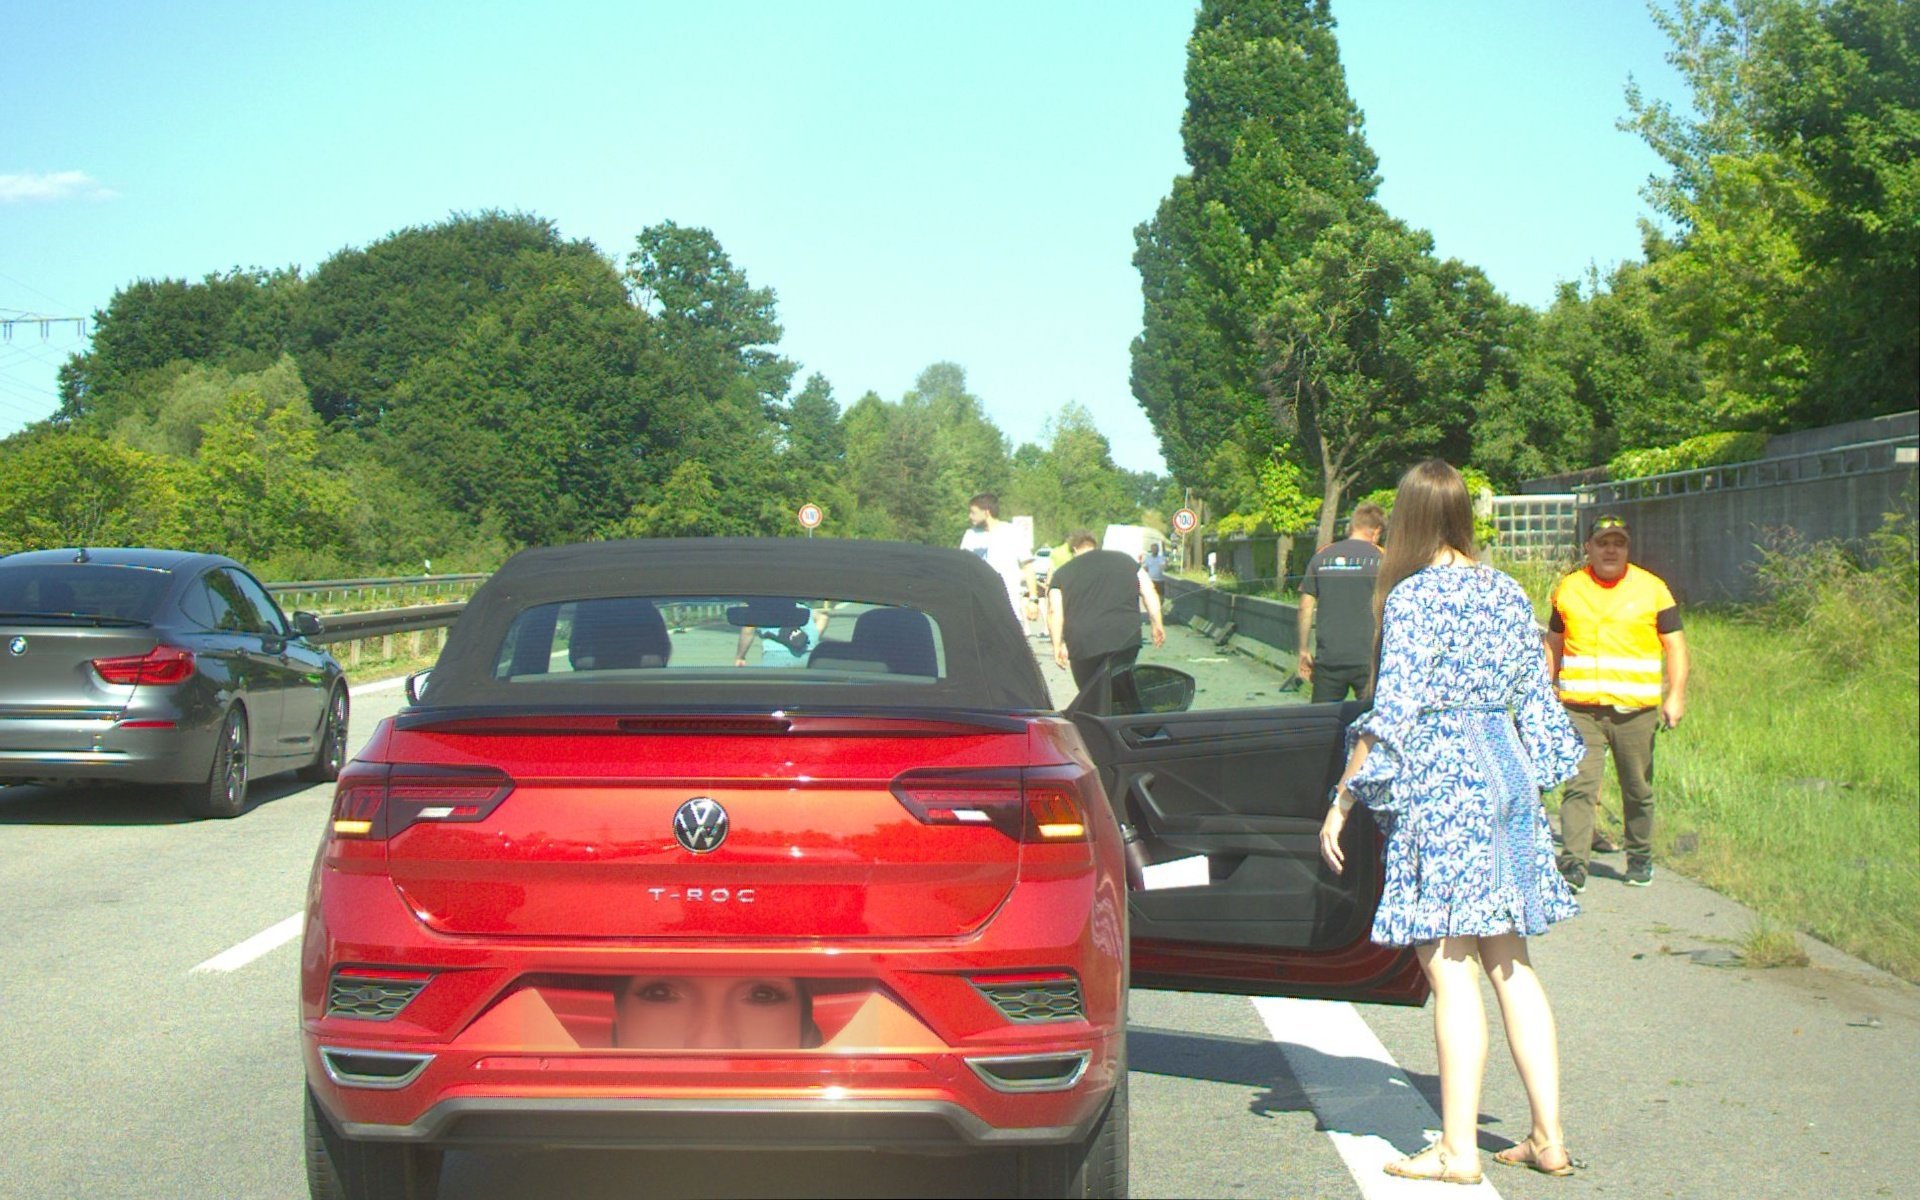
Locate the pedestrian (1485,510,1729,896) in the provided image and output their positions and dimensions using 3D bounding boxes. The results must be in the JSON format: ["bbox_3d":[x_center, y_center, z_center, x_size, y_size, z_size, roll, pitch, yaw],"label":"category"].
[{"bbox_3d":[2.871,0.433,15.386,0.958,1.648,1.278,-1,1,6],"label":"pedestrian"}]

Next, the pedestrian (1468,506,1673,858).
[{"bbox_3d":[3.058,0.399,17.284,0.894,1.719,0.754,1,0,2],"label":"pedestrian"}]

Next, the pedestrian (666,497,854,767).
[{"bbox_3d":[-1.353,0.208,23.487,1.104,1.782,1.091,1,0,5],"label":"pedestrian"}]

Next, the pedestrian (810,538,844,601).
[{"bbox_3d":[-3.547,-0.815,91.624,0.792,1.683,0.792,1,0,5],"label":"pedestrian"}]

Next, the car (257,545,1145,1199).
[{"bbox_3d":[-0.501,0.613,8.850,1.732,1.482,4.210,1,1,0],"label":"car"}]

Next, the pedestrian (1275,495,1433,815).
[{"bbox_3d":[2.239,0.298,19.457,0.812,1.753,0.828,1,0,10],"label":"pedestrian"}]

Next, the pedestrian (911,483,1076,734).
[{"bbox_3d":[0.253,0.051,27.043,1.105,1.906,1.257,-1,1,-7],"label":"pedestrian"}]

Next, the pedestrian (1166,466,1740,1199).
[{"bbox_3d":[1.153,0.542,8.235,0.889,1.689,1.129,-1,1,-22],"label":"pedestrian"}]

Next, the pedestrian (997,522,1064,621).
[{"bbox_3d":[1.212,-0.489,59.416,1.113,1.683,0.973,1,0,0],"label":"pedestrian"}]

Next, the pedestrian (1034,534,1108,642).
[{"bbox_3d":[1.762,-0.199,54.507,1.056,1.683,1.017,1,0,7],"label":"pedestrian"}]

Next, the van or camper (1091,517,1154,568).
[{"bbox_3d":[7.613,-2.664,160.916,1.995,2.308,4.467,1,1,16],"label":"van or camper"}]

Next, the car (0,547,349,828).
[{"bbox_3d":[-4.781,0.420,19.900,1.694,1.421,4.334,1,1,0],"label":"car"}]

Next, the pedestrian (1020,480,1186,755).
[{"bbox_3d":[0.992,0.111,24.207,1.090,1.876,1.069,-1,1,-1],"label":"pedestrian"}]

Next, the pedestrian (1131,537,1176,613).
[{"bbox_3d":[4.369,-0.572,77.486,0.996,1.683,1.010,1,0,4],"label":"pedestrian"}]
